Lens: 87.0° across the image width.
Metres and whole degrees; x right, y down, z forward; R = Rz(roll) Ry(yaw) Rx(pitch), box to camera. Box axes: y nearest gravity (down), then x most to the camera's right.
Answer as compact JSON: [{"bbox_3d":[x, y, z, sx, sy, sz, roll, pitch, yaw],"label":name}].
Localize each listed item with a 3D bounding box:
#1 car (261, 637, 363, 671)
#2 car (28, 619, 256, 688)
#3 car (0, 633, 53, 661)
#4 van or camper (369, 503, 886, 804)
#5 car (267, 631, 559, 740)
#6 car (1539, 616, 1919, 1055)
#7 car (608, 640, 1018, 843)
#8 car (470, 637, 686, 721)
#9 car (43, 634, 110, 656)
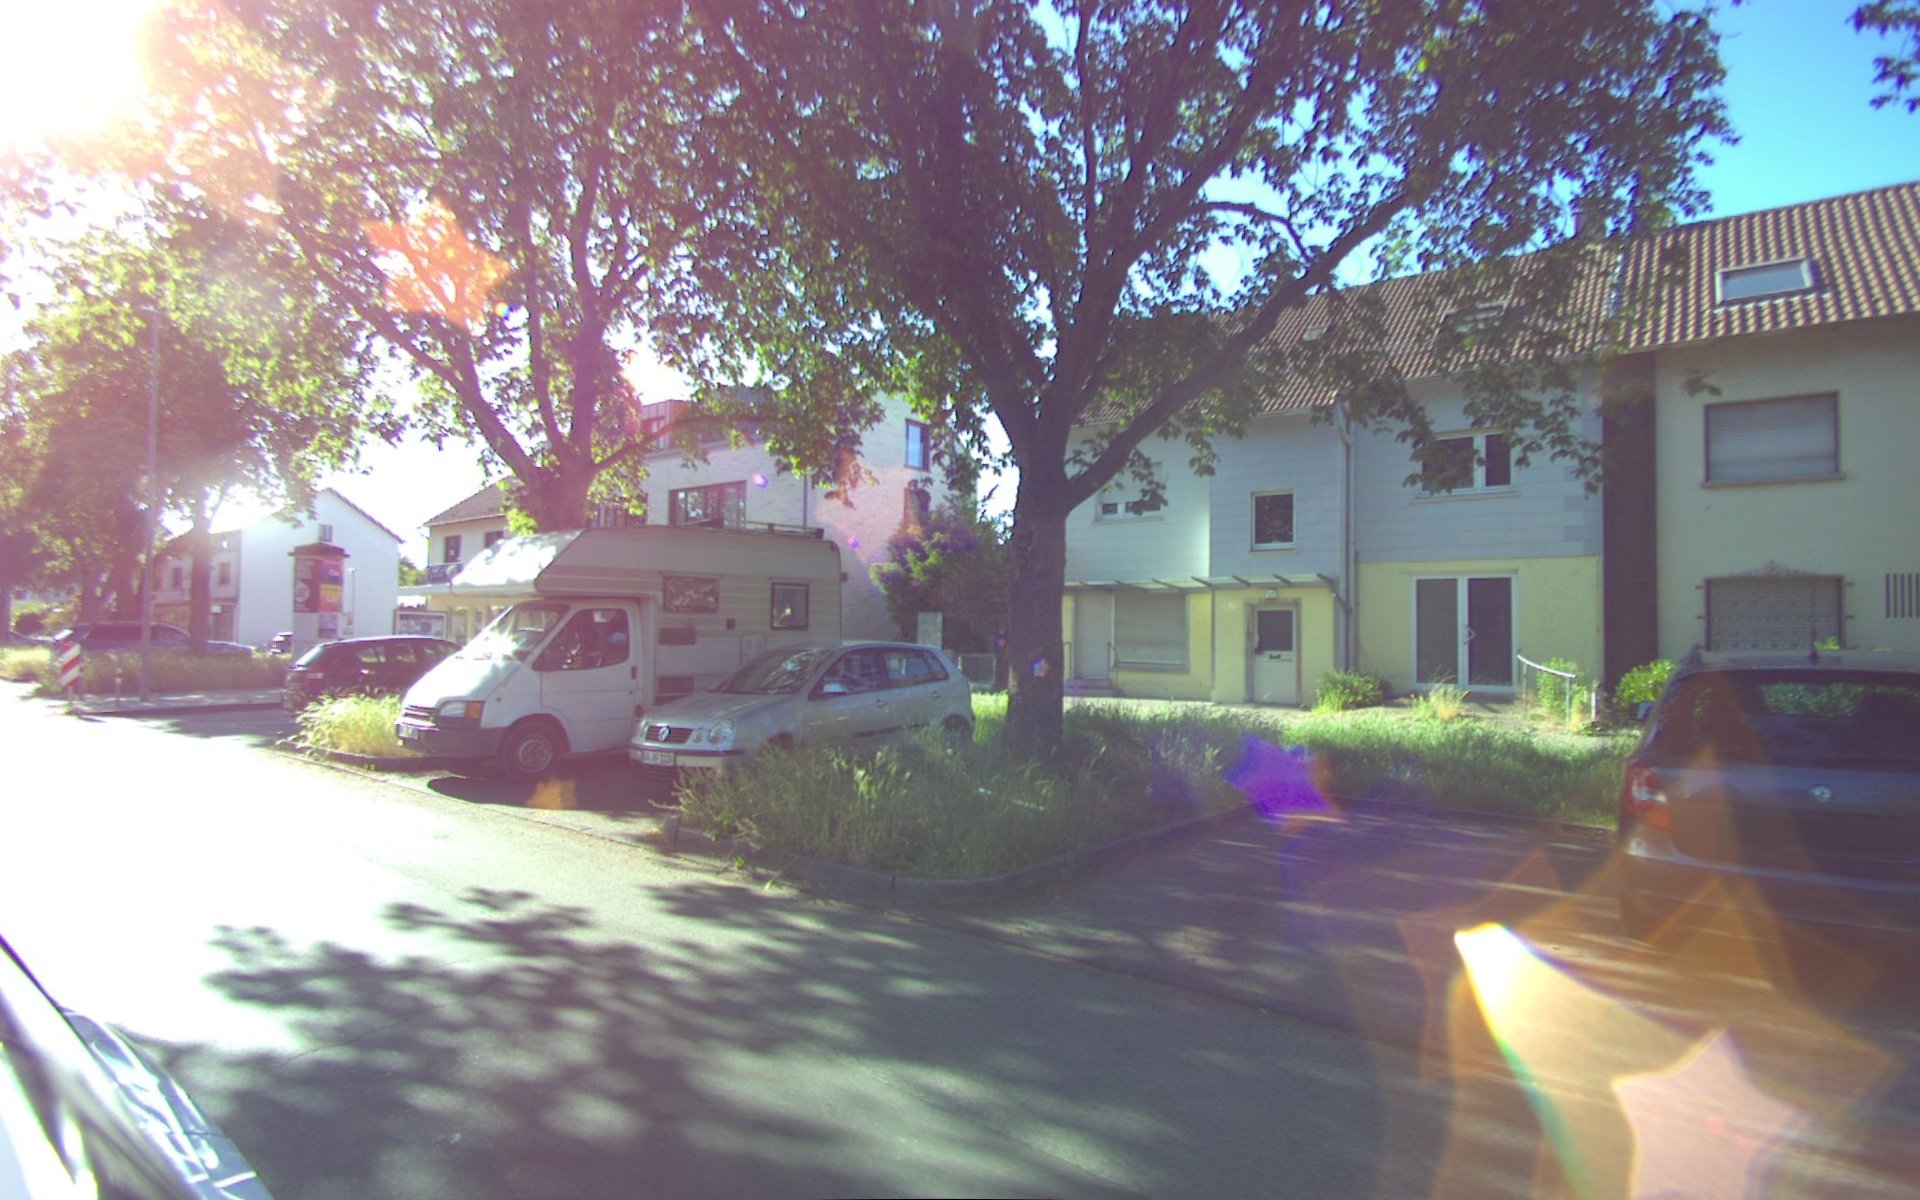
[{"bbox_3d":[-33.447,2.824,52.319,1.995,1.650,3.953,-1,-4,34],"label":"car"},{"bbox_3d":[-24.525,1.538,30.528,1.996,1.741,5.016,-1,0,36],"label":"car"},{"bbox_3d":[-52.822,2.584,55.502,1.998,1.427,4.338,-1,-1,39],"label":"car"},{"bbox_3d":[-3.675,0.459,12.306,2.000,2.826,5.714,-1,0,42],"label":"van or camper"},{"bbox_3d":[-8.885,1.299,16.671,1.640,1.460,3.943,-1,-1,43],"label":"car"},{"bbox_3d":[4.750,0.946,5.675,1.998,1.601,3.948,-1,0,39],"label":"car"},{"bbox_3d":[-1.350,1.263,10.581,1.998,1.469,3.948,-1,0,38],"label":"car"},{"bbox_3d":[-8.017,1.592,21.547,1.866,1.554,3.953,-1,-2,35],"label":"car"},{"bbox_3d":[-68.773,3.502,78.813,1.691,1.577,3.723,-1,-4,43],"label":"car"}]
